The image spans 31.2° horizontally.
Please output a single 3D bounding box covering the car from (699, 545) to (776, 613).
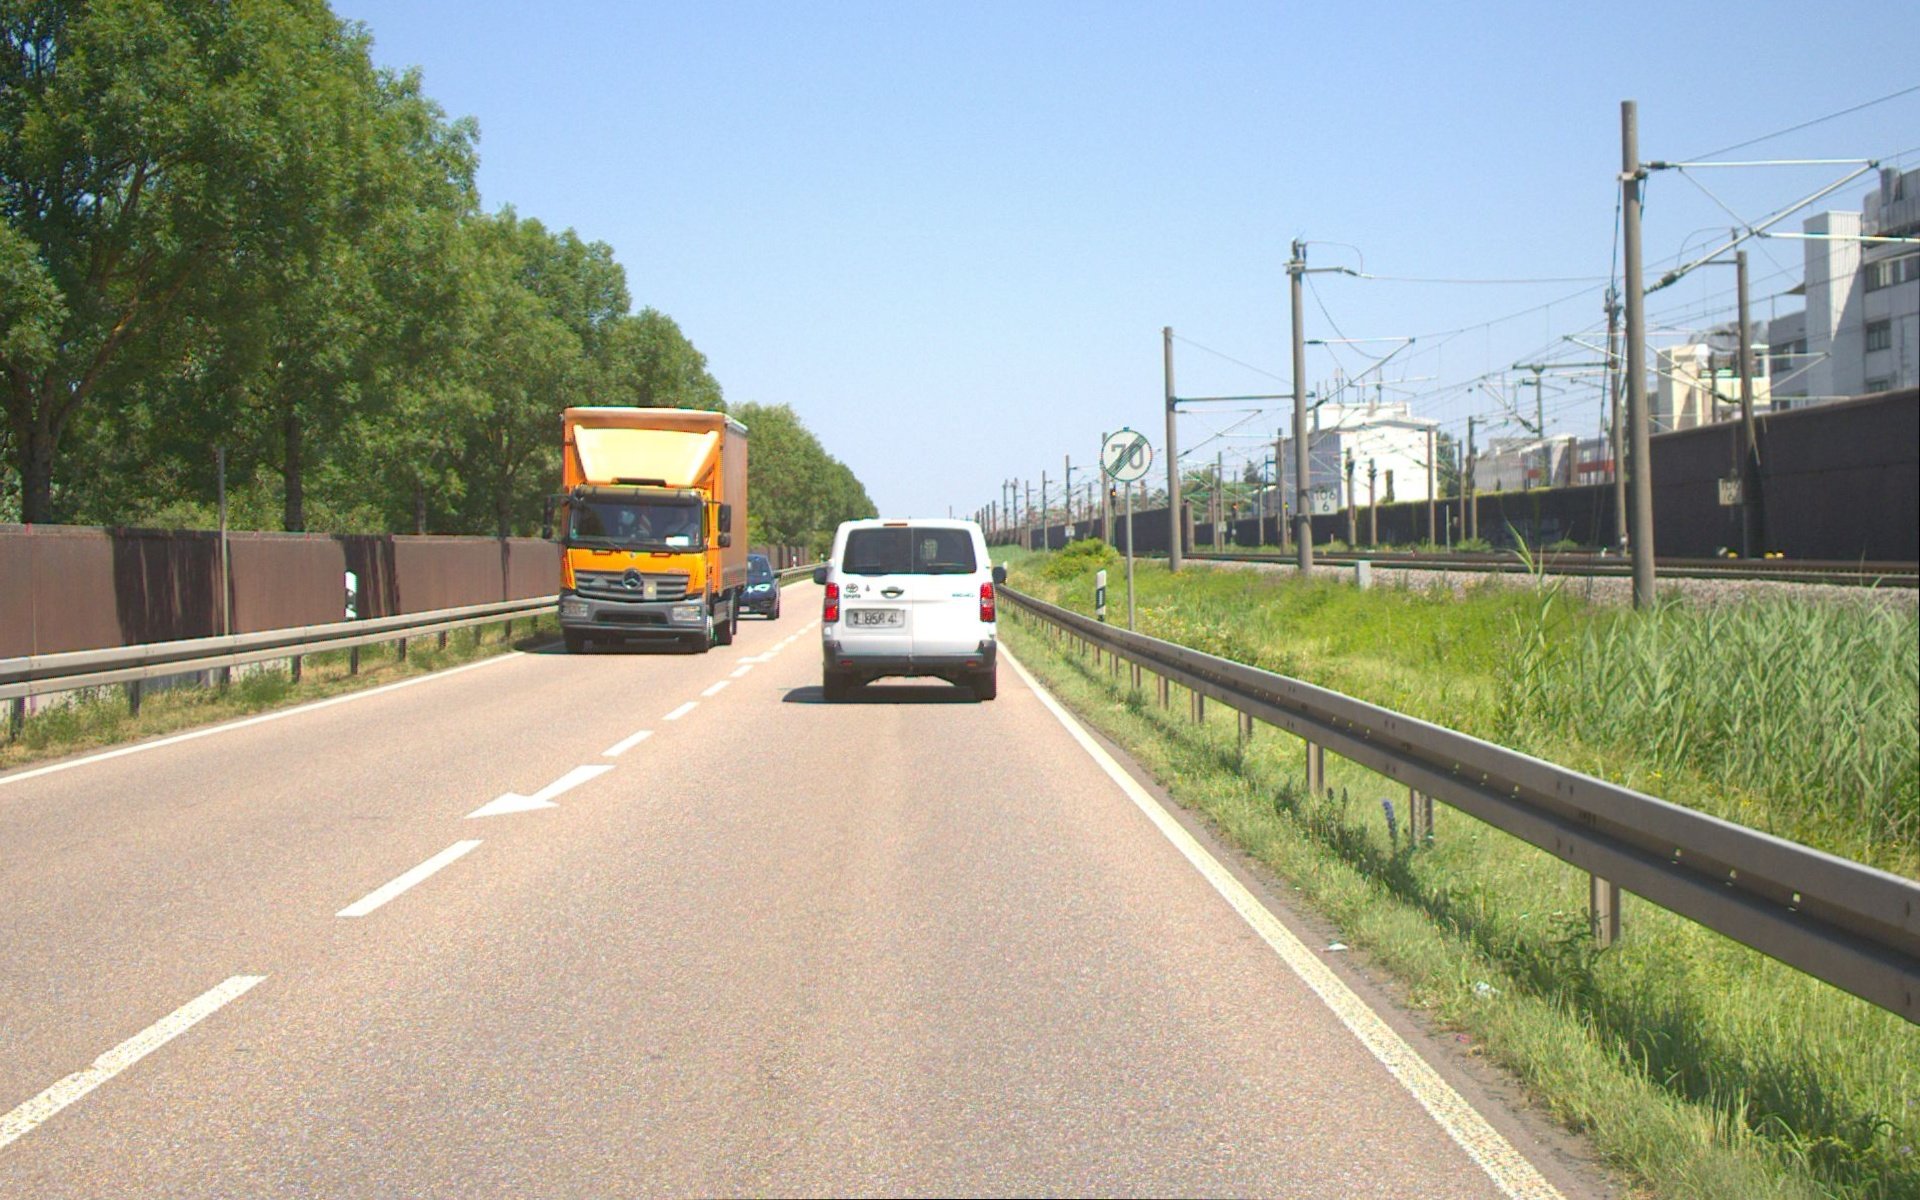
[{"bbox_3d":[-5.321,-0.522,82.504,1.622,1.572,3.763,0,1,0],"label":"car"}]

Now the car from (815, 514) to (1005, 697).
[{"bbox_3d":[-0.542,0.030,37.728,1.945,1.875,4.881,0,1,-1],"label":"car"}]

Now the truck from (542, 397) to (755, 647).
[{"bbox_3d":[-5.046,-1.254,57.308,2.792,3.827,9.324,0,1,-1],"label":"truck"}]
